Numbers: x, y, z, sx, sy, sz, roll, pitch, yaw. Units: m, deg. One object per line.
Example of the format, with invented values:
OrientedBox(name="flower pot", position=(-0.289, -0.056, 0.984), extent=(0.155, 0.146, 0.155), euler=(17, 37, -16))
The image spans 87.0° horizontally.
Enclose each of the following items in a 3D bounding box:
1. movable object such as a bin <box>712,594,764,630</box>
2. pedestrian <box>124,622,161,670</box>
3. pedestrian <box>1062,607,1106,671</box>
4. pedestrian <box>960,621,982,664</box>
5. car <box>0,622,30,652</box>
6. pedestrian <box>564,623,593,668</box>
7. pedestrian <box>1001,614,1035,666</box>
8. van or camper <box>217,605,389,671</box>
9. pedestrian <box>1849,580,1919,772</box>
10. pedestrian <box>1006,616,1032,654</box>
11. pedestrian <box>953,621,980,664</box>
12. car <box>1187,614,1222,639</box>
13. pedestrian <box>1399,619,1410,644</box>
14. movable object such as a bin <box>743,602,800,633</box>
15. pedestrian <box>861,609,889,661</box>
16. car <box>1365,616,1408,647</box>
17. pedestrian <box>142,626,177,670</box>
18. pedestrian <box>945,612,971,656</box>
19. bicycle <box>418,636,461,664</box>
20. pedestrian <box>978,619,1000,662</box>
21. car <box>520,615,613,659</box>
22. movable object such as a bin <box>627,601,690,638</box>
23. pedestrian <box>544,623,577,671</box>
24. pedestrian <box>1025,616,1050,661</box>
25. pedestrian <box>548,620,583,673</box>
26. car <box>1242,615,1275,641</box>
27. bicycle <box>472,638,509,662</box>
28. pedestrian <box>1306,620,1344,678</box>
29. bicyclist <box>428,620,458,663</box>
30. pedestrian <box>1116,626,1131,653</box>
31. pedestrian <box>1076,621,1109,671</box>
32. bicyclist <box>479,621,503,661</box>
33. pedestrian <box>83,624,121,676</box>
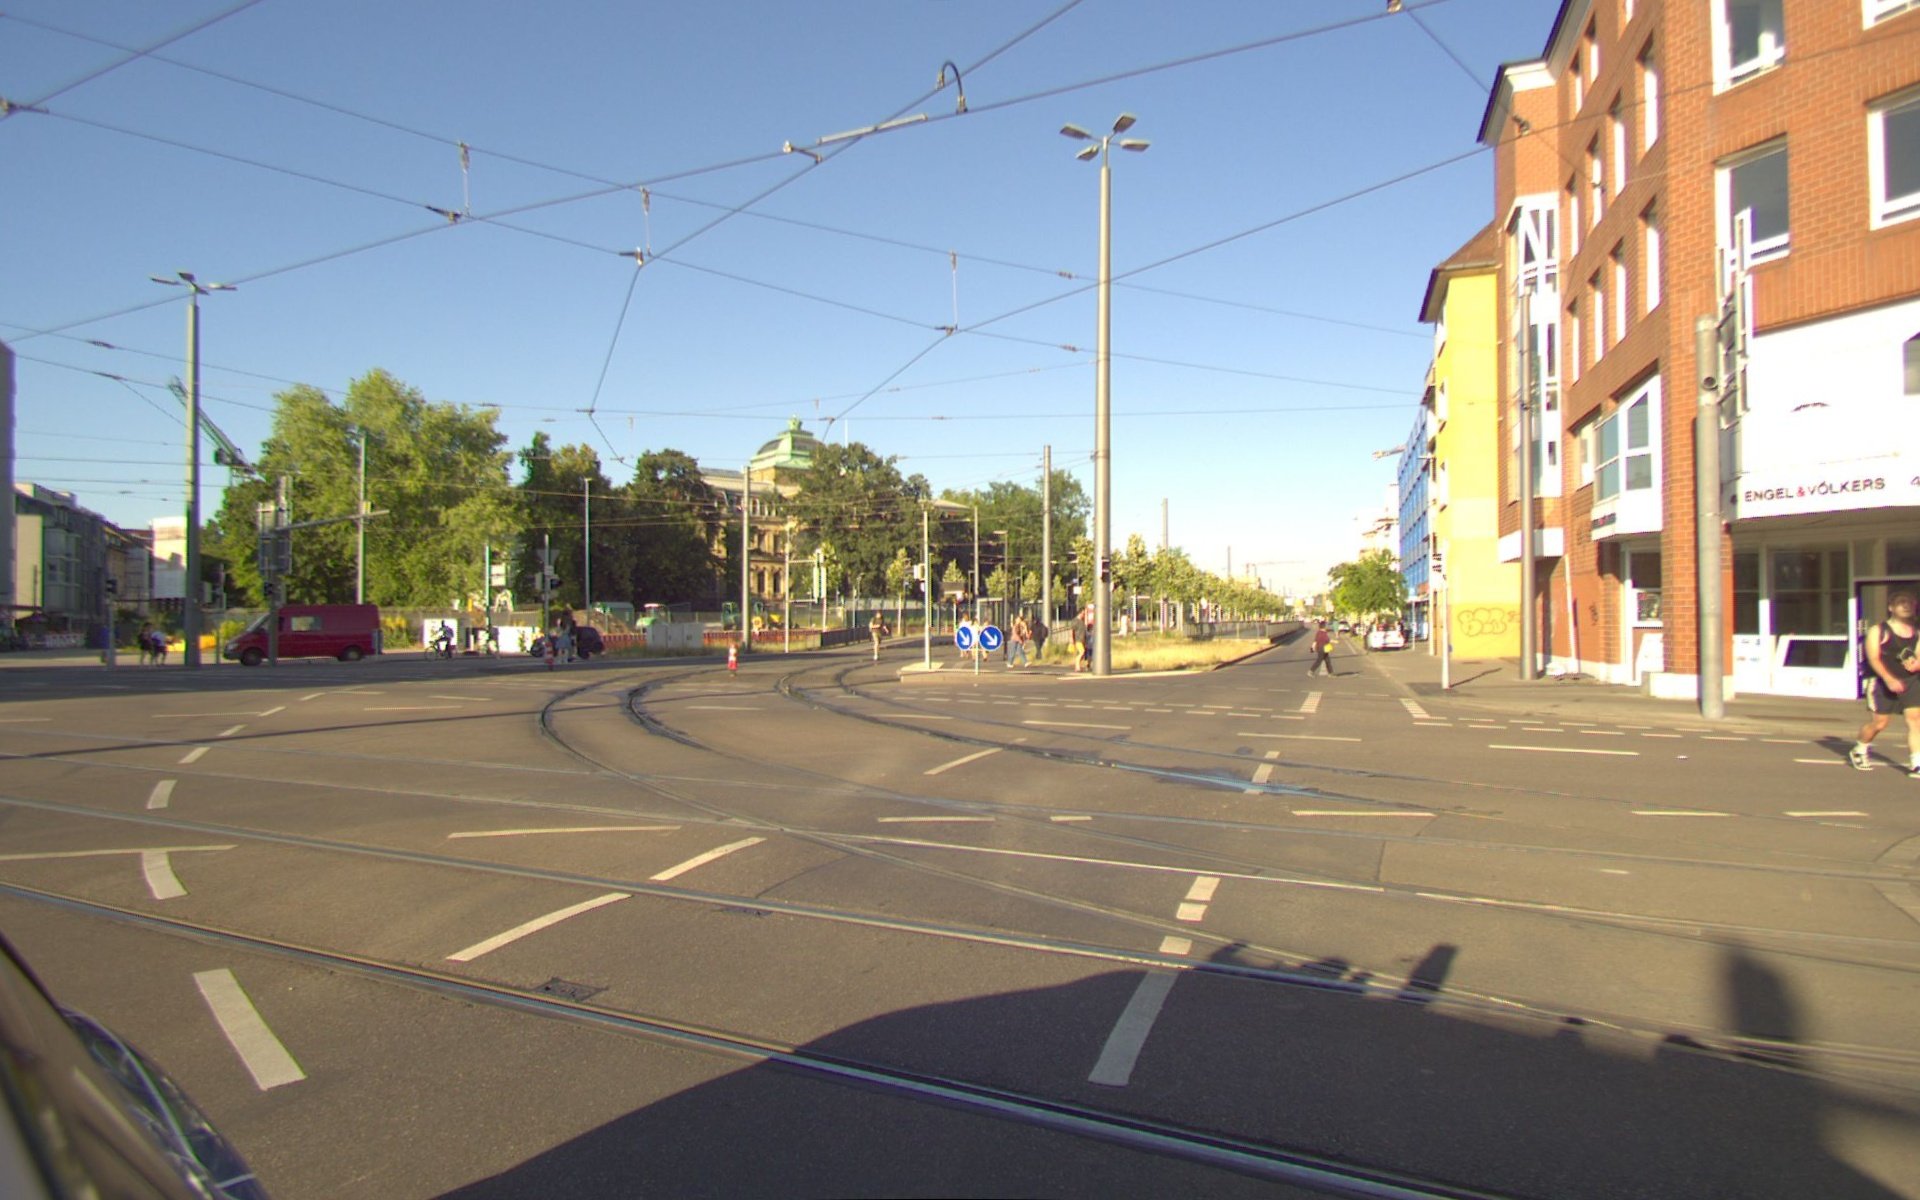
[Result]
OrientedBox(name="movable object such as a bin", position=(-21.186, 1.153, 96.899), extent=(1.988, 3.355, 5.331), euler=(-3, -2, 24))
OrientedBox(name="pedestrian", position=(-29.633, 1.666, 36.695), extent=(0.685, 1.695, 1.045), euler=(-2, -2, -18))
OrientedBox(name="pedestrian", position=(3.502, 1.094, 28.523), extent=(0.899, 1.771, 0.766), euler=(-3, -2, 38))
OrientedBox(name="pedestrian", position=(0.384, 1.471, 35.062), extent=(0.628, 1.467, 0.526), euler=(-2, -2, -10))
OrientedBox(name="car", position=(-66.983, 2.634, 70.949), extent=(1.685, 1.996, 3.773), euler=(-1, -2, -28))
OrientedBox(name="pedestrian", position=(-14.610, 1.742, 38.794), extent=(0.781, 1.653, 0.616), euler=(-3, -2, 18))
OrientedBox(name="pedestrian", position=(1.784, 1.217, 31.004), extent=(0.775, 1.547, 0.621), euler=(-1, -2, -37))
OrientedBox(name="van or camper", position=(-27.740, 1.567, 42.870), extent=(5.826, 2.548, 2.001), euler=(-1, -2, -44))
OrientedBox(name="pedestrian", position=(9.113, 0.703, 9.625), extent=(0.685, 1.771, 0.830), euler=(-1, -2, -41))
OrientedBox(name="pedestrian", position=(2.557, 1.519, 43.799), extent=(0.829, 1.596, 0.684), euler=(-1, -2, -43))
OrientedBox(name="pedestrian", position=(0.251, 1.579, 37.629), extent=(0.774, 1.560, 0.621), euler=(0, -2, -29))
OrientedBox(name="car", position=(16.177, 1.754, 66.815), extent=(1.873, 1.519, 3.917), euler=(-3, -1, 19))
OrientedBox(name="pedestrian", position=(31.965, 2.290, 72.778), extent=(0.642, 1.759, 0.593), euler=(-3, -2, 26))
OrientedBox(name="movable object such as a bin", position=(-17.724, 1.630, 95.392), extent=(1.992, 2.838, 5.807), euler=(-3, -2, 29))
OrientedBox(name="pedestrian", position=(-3.134, 1.295, 37.283), extent=(0.783, 1.878, 0.615), euler=(-3, -2, 23))
OrientedBox(name="car", position=(23.183, 1.693, 55.126), extent=(1.873, 1.519, 3.650), euler=(-3, -1, 19))
OrientedBox(name="pedestrian", position=(-33.644, 2.011, 42.549), extent=(1.001, 1.775, 0.755), euler=(-3, -2, 22))
OrientedBox(name="pedestrian", position=(-0.074, 1.332, 40.072), extent=(0.783, 1.712, 0.615), euler=(-3, -2, 23))
OrientedBox(name="bicycle", position=(-22.233, 2.121, 43.269), extent=(0.538, 1.109, 1.800), euler=(-2, -1, 15))
OrientedBox(name="pedestrian", position=(1.011, 1.398, 35.197), extent=(0.628, 1.443, 0.526), euler=(-2, -2, -10))
OrientedBox(name="car", position=(-20.000, 1.873, 51.533), extent=(2.001, 2.029, 3.942), euler=(-3, -2, 44))
OrientedBox(name="movable object such as a bin", position=(-23.519, 1.503, 79.142), extent=(1.988, 2.704, 4.973), euler=(-3, -1, 24))
OrientedBox(name="pedestrian", position=(-14.203, 1.676, 36.022), extent=(0.886, 1.653, 0.789), euler=(-2, -1, -8))
OrientedBox(name="pedestrian", position=(2.784, 1.386, 36.420), extent=(0.831, 1.596, 0.683), euler=(-2, -1, 4))
OrientedBox(name="pedestrian", position=(-14.226, 1.666, 36.546), extent=(0.886, 1.814, 0.789), euler=(-5, 0, -6))
OrientedBox(name="car", position=(19.437, 1.798, 65.808), extent=(1.873, 1.519, 3.917), euler=(-3, -1, 19))
OrientedBox(name="bicycle", position=(-21.116, 2.232, 45.580), extent=(0.538, 1.009, 1.685), euler=(-2, -1, 15))
OrientedBox(name="pedestrian", position=(10.402, 1.387, 28.883), extent=(0.598, 1.600, 0.791), euler=(-2, -2, -17))
OrientedBox(name="bicyclist", position=(-22.208, 1.777, 43.476), extent=(0.538, 1.781, 1.055), euler=(-2, -2, 15))
OrientedBox(name="pedestrian", position=(10.456, 2.505, 64.795), extent=(0.783, 1.685, 0.615), euler=(-3, -2, 23))
OrientedBox(name="pedestrian", position=(3.817, 1.322, 29.170), extent=(0.606, 1.370, 0.590), euler=(-8, -2, 32))
OrientedBox(name="bicyclist", position=(-21.102, 1.847, 45.562), extent=(0.610, 1.759, 0.788), euler=(-2, -2, 15))
OrientedBox(name="pedestrian", position=(-30.593, 1.764, 36.100), extent=(0.685, 1.807, 1.045), euler=(-2, -2, -18))
